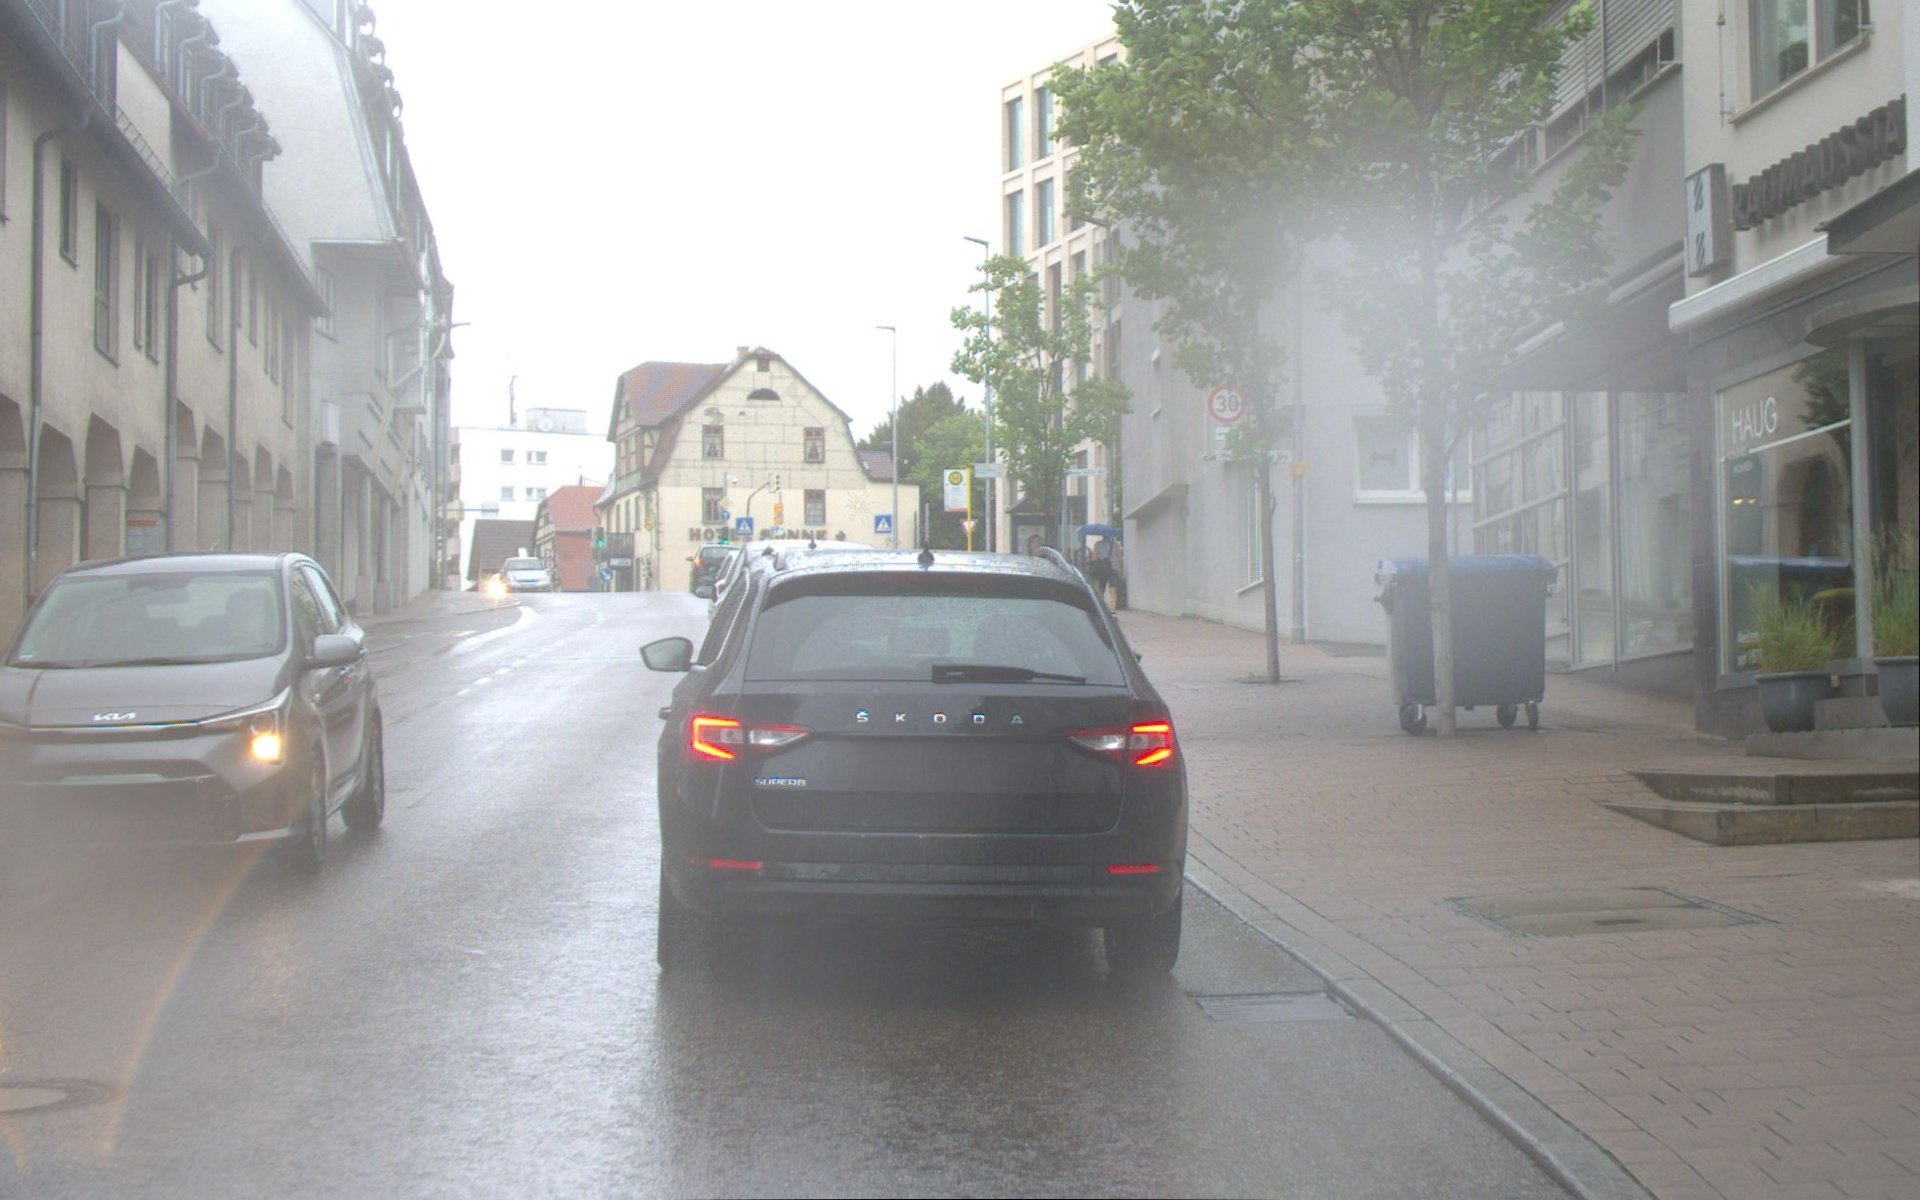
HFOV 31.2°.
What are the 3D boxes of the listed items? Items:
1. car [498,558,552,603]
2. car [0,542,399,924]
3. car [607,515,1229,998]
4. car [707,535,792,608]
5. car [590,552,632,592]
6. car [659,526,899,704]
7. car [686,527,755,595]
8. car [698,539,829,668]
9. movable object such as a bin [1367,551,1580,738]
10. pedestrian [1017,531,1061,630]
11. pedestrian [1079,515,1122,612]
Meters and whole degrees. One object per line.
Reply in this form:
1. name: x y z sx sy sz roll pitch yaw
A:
1. car: -16.622 -0.759 131.410 1.993 1.645 4.001 -1 0 -7
2. car: -3.740 0.536 16.305 1.773 1.528 3.711 -3 1 -5
3. car: -0.193 0.465 12.759 1.886 1.443 4.357 -1 0 -2
4. car: -4.679 -0.641 76.215 1.703 1.546 3.607 1 1 -6
5. car: -13.937 -1.142 137.282 1.627 1.525 4.001 1 1 -5
6. car: -1.568 0.112 31.090 1.856 1.468 4.000 -1 0 1
7. car: -7.226 -1.180 103.937 1.993 2.007 4.001 0 1 -3
8. car: -2.723 0.088 46.937 1.627 1.525 4.000 0 -3 -5
9. movable object such as a bin: 3.862 0.322 25.996 1.286 1.345 1.487 -1 0 -4
10. pedestrian: 1.395 -0.344 60.820 0.705 1.719 0.832 -1 0 0
11. pedestrian: 2.513 -0.653 61.465 0.705 1.719 0.832 1 1 0
